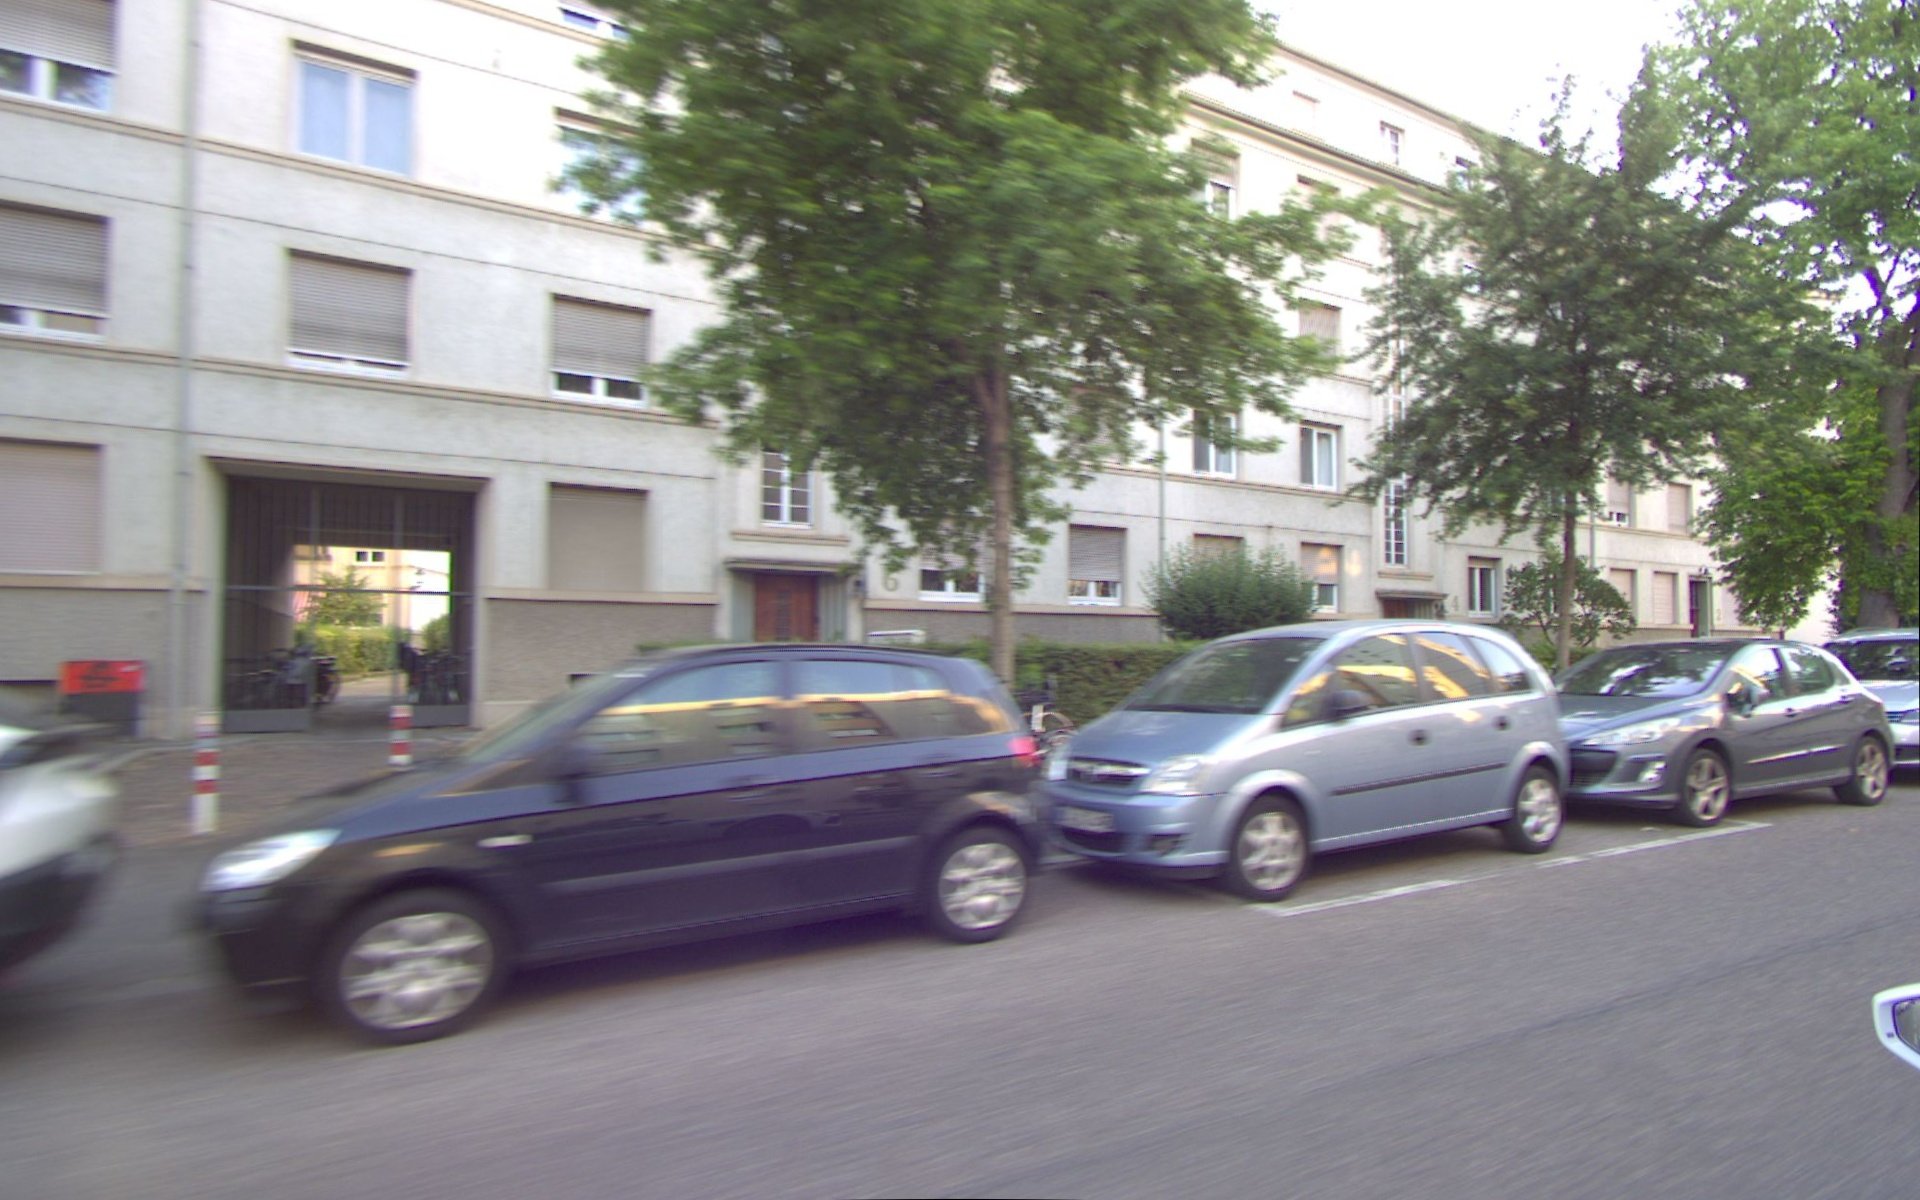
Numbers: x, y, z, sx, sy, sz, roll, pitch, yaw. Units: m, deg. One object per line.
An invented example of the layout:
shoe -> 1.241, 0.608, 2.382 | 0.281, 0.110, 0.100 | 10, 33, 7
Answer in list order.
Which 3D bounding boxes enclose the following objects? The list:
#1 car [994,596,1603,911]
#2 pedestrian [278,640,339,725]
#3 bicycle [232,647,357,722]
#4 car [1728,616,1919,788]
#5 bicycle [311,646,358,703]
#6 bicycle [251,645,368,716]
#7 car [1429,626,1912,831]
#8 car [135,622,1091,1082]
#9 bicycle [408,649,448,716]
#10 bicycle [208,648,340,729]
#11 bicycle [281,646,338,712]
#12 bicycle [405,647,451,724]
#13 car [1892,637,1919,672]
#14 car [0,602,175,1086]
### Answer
car -> 2.414, 0.920, 6.972 | 4.068, 1.621, 1.700 | 2, -6, -30
pedestrian -> -10.498, 1.314, 16.203 | 0.583, 1.337, 0.554 | 0, -2, 13
bicycle -> -11.155, 1.386, 16.917 | 0.615, 1.187, 1.818 | 0, -2, 13
car -> 11.282, 1.129, 11.885 | 4.805, 1.712, 1.837 | 2, -5, -32
bicycle -> -13.842, 1.622, 22.255 | 0.619, 1.187, 1.923 | 1, -2, -24
bicycle -> -11.545, 1.402, 17.898 | 0.615, 1.187, 1.818 | 0, -2, 13
car -> 6.510, 1.054, 9.174 | 4.213, 1.516, 1.728 | 1, -5, -26
car -> -1.404, 0.933, 4.949 | 3.797, 1.470, 1.701 | 2, -6, -30
bicycle -> -10.118, 1.531, 19.068 | 0.620, 1.187, 1.920 | 1, -3, -29
bicycle -> -10.739, 1.350, 15.810 | 0.615, 1.187, 1.818 | 0, -2, 8
bicycle -> -12.501, 1.490, 19.356 | 0.619, 1.187, 1.923 | 1, -2, -24
bicycle -> -8.839, 1.386, 16.662 | 0.620, 1.187, 1.920 | 1, -3, -29
car -> 52.223, 2.868, 53.193 | 4.548, 1.823, 1.822 | 0, -2, -11
car -> -5.087, 0.802, 2.959 | 4.160, 1.558, 1.582 | 2, -6, -32
